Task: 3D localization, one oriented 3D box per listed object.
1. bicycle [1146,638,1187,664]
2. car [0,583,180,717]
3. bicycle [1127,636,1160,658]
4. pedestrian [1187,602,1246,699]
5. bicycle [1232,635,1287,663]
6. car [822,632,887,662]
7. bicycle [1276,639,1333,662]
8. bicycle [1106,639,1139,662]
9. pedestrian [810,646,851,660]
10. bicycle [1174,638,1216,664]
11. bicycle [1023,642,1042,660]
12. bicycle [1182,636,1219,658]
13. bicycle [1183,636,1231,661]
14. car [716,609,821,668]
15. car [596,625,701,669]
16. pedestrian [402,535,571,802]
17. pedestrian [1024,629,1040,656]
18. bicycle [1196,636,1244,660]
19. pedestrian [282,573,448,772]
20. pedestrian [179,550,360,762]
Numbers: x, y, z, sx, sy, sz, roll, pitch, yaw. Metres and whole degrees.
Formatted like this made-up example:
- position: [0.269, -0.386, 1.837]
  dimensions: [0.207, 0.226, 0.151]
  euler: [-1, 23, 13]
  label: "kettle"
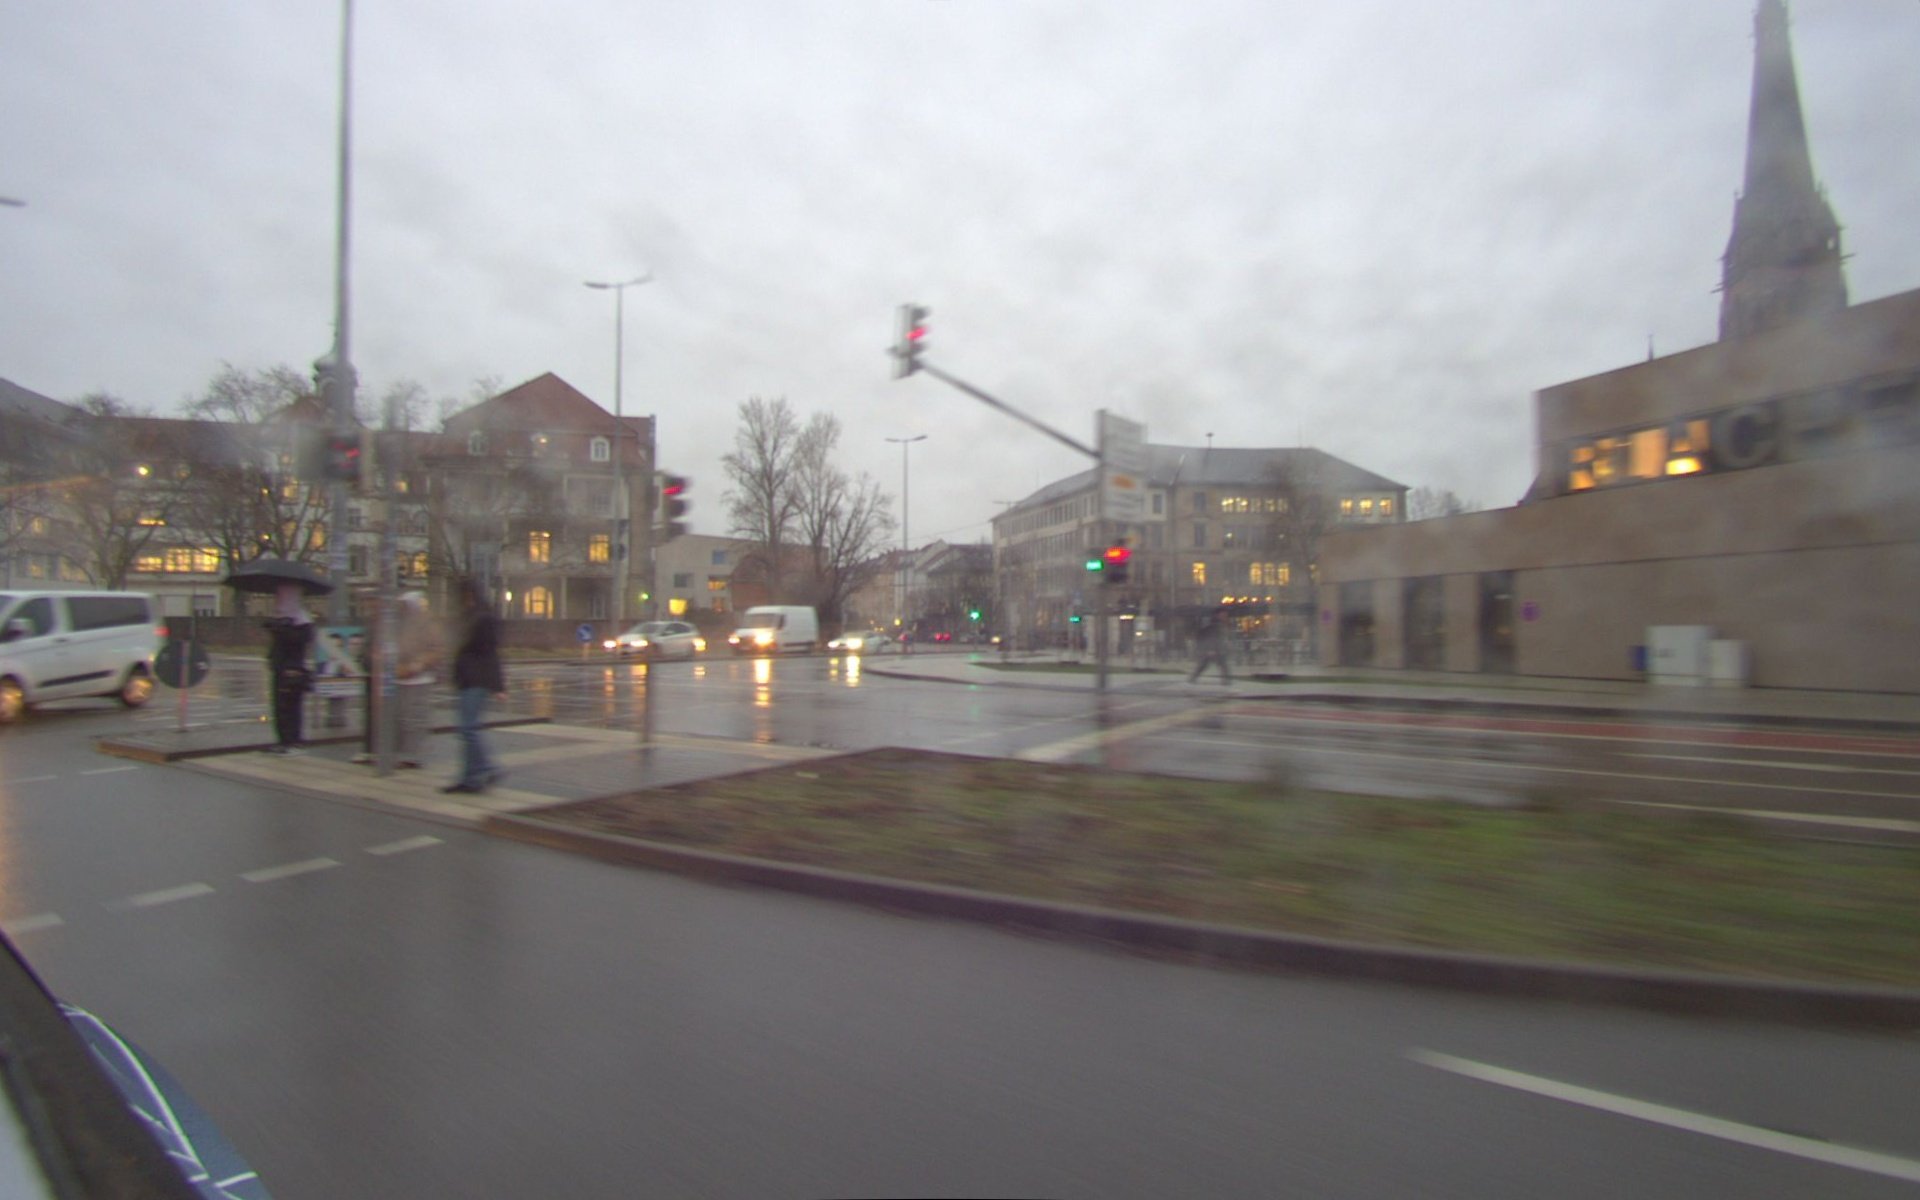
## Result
- position: [9.441, 2.346, 46.412]
  dimensions: [0.636, 1.113, 2.758]
  euler: [-1, -3, -14]
  label: "bicycle"
- position: [-15.049, 0.822, 15.857]
  dimensions: [2.106, 1.936, 5.022]
  euler: [-2, -3, -5]
  label: "car"
- position: [9.752, 2.511, 53.876]
  dimensions: [0.636, 1.113, 2.758]
  euler: [-1, -3, -14]
  label: "bicycle"
- position: [5.224, 1.033, 20.564]
  dimensions: [1.026, 1.872, 1.227]
  euler: [-3, -3, 17]
  label: "pedestrian"
- position: [12.431, 2.040, 42.119]
  dimensions: [0.597, 1.113, 2.759]
  euler: [-1, -2, -21]
  label: "bicycle"
- position: [-5.939, 2.655, 57.557]
  dimensions: [1.824, 1.656, 4.786]
  euler: [0, -2, 19]
  label: "car"
- position: [16.434, 2.384, 48.436]
  dimensions: [0.781, 1.058, 3.204]
  euler: [1, -2, -18]
  label: "bicycle"
- position: [8.598, 2.691, 53.678]
  dimensions: [0.636, 1.113, 2.758]
  euler: [-1, -3, -14]
  label: "bicycle"
- position: [-10.240, 4.178, 80.040]
  dimensions: [3.048, 0.937, 0.951]
  euler: [-2, -3, -12]
  label: "pedestrian"
- position: [10.802, 2.365, 46.611]
  dimensions: [0.636, 1.113, 2.758]
  euler: [-1, -3, -14]
  label: "bicycle"
- position: [4.865, 3.392, 67.884]
  dimensions: [0.621, 1.185, 1.855]
  euler: [1, -2, 27]
  label: "bicycle"
- position: [12.615, 2.489, 53.126]
  dimensions: [0.636, 1.113, 2.758]
  euler: [-1, -3, -14]
  label: "bicycle"
- position: [11.738, 2.340, 48.220]
  dimensions: [0.636, 1.113, 2.759]
  euler: [-1, -3, -23]
  label: "bicycle"
- position: [-8.942, 1.821, 47.893]
  dimensions: [2.329, 2.537, 5.831]
  euler: [-3, -3, 18]
  label: "car"
- position: [-11.798, 1.795, 38.642]
  dimensions: [1.740, 1.515, 4.293]
  euler: [-3, -3, 17]
  label: "car"
- position: [-3.908, 0.557, 8.341]
  dimensions: [1.108, 2.021, 0.837]
  euler: [-5, -4, 37]
  label: "pedestrian"
- position: [4.843, 2.858, 67.861]
  dimensions: [0.714, 1.747, 0.973]
  euler: [0, -2, 26]
  label: "pedestrian"
- position: [12.446, 2.291, 48.517]
  dimensions: [0.636, 1.113, 2.759]
  euler: [-1, -2, -23]
  label: "bicycle"
- position: [-5.997, 0.728, 10.256]
  dimensions: [1.057, 1.872, 1.033]
  euler: [-2, -3, 5]
  label: "pedestrian"
- position: [-7.211, 0.588, 10.638]
  dimensions: [1.024, 2.065, 1.211]
  euler: [-3, -3, 10]
  label: "pedestrian"
